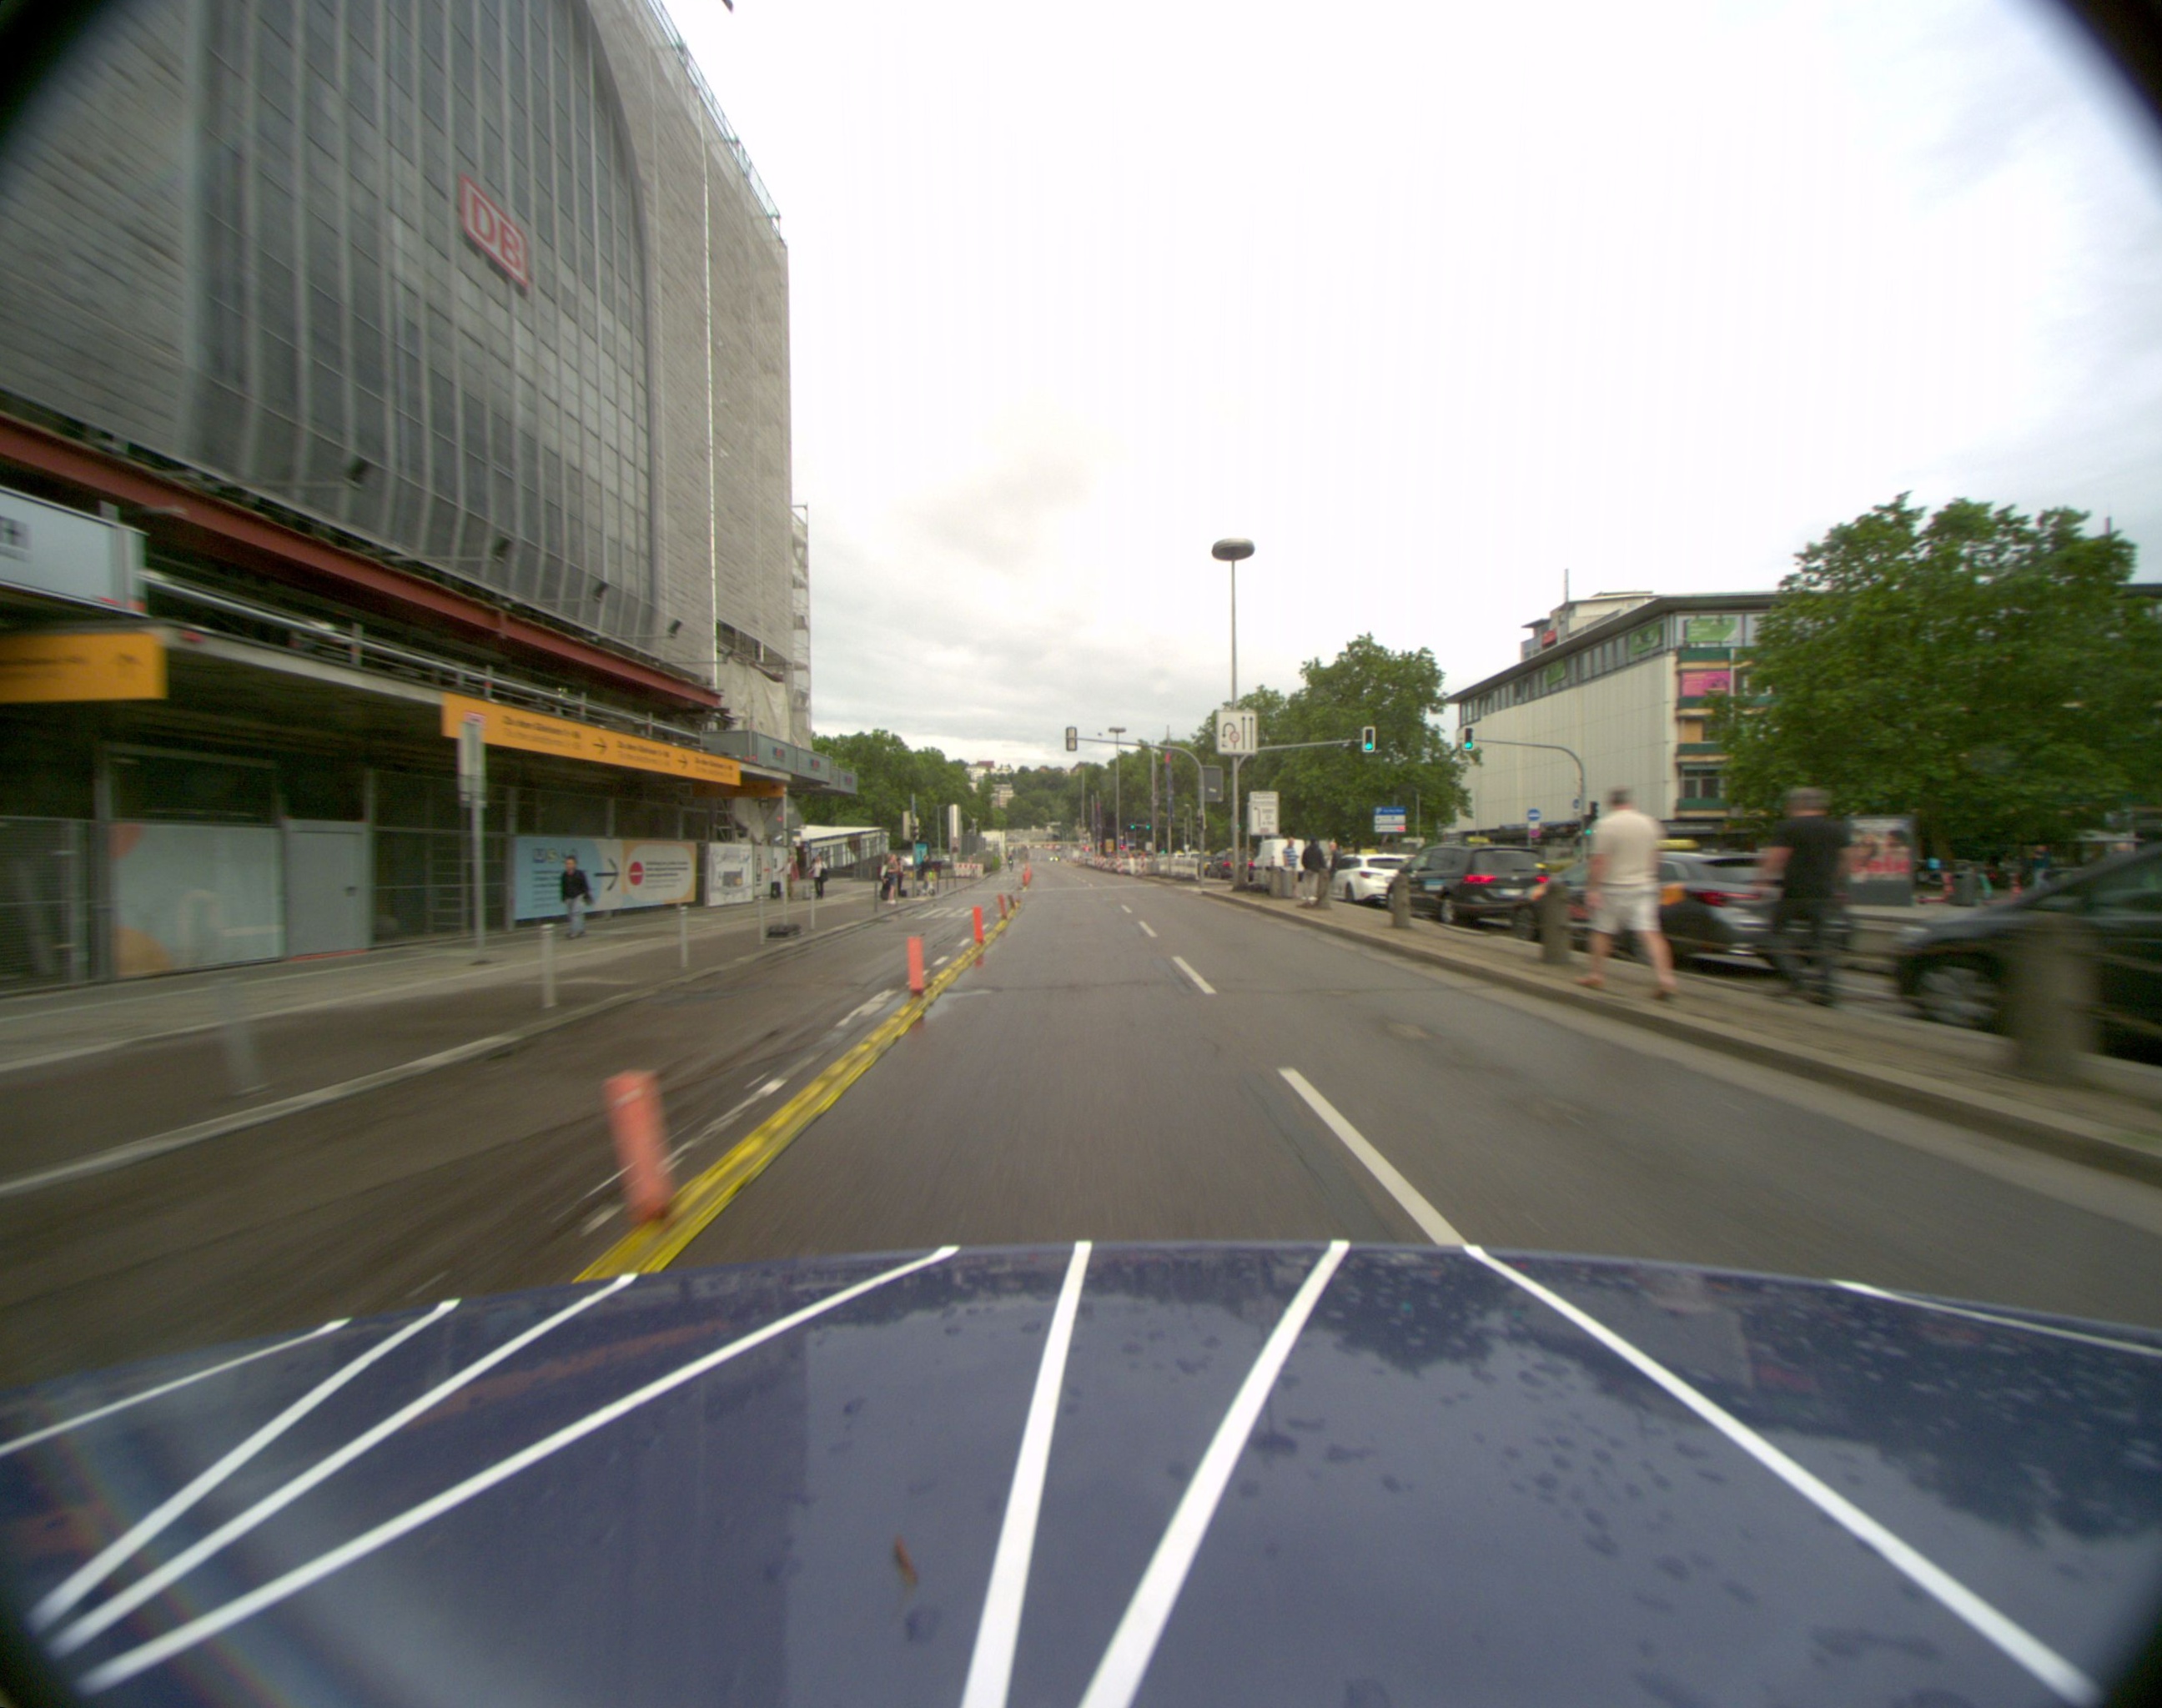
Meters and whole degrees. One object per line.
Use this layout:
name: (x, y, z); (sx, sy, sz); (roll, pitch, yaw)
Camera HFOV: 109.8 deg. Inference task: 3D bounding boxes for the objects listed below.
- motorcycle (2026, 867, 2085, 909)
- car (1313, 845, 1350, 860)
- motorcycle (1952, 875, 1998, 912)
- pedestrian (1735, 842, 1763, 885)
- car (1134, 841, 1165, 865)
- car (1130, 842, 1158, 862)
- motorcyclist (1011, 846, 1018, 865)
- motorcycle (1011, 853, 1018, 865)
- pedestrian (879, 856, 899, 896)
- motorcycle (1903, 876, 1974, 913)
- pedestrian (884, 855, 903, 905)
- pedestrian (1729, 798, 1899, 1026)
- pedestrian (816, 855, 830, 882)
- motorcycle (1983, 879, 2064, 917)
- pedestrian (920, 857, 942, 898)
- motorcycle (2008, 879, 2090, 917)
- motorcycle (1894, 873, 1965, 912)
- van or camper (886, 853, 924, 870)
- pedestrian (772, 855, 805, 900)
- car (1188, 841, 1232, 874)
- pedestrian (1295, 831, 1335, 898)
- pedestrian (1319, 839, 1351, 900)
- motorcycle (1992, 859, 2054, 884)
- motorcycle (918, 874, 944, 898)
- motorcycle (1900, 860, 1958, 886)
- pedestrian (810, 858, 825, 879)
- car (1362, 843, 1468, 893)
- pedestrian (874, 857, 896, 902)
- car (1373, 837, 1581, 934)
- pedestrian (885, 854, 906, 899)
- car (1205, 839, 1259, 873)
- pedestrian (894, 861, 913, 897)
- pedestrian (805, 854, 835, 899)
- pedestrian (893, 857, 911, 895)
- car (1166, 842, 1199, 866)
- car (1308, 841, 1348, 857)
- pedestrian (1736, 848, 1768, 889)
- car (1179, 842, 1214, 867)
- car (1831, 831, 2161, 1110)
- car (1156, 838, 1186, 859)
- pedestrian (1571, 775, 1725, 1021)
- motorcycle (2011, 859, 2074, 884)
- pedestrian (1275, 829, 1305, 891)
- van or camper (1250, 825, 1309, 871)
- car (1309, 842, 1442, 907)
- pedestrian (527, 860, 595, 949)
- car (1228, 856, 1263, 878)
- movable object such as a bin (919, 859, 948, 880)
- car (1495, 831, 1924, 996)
motorcycle: (27.060, 0.925, 21.127); (0.601, 1.051, 1.819); (-2, 0, 39)
car: (36.582, -0.265, 110.969); (4.829, 2.001, 2.037); (-2, 0, 5)
motorcycle: (29.866, 1.309, 25.398); (0.581, 1.127, 1.627); (-2, 0, 35)
pedestrian: (26.177, 0.367, 29.776); (0.530, 1.632, 0.609); (2, 0, -18)
car: (5.377, -0.034, 60.516); (1.999, 1.806, 4.811); (0, -1, -1)
car: (5.490, -0.141, 66.951); (1.999, 1.760, 4.811); (0, -1, -1)
motorcyclist: (-7.160, 0.168, 81.939); (0.726, 2.024, 0.587); (0, -1, -5)
motorcycle: (-7.162, 0.578, 81.955); (0.730, 1.221, 2.160); (0, -1, -5)
pedestrian: (-8.033, 0.905, 31.826); (0.565, 1.641, 0.615); (2, 0, 6)
motorcycle: (26.351, 1.238, 23.382); (0.477, 1.040, 1.625); (-2, 0, 7)
pedestrian: (-6.680, 0.924, 27.070); (0.560, 1.749, 0.751); (2, 0, -12)
pedestrian: (5.944, 0.451, 6.200); (0.700, 1.744, 0.711); (-1, 0, 2)
pedestrian: (-20.086, 1.114, 59.119); (0.806, 2.002, 0.765); (-3, 1, -6)
motorcycle: (28.500, 1.308, 23.018); (0.582, 1.051, 1.625); (-2, 0, 9)
pedestrian: (-6.456, 1.018, 32.699); (0.582, 1.730, 0.819); (-1, 1, -41)
motorcycle: (29.467, 1.320, 23.154); (0.582, 1.051, 1.625); (-2, 0, 9)
motorcycle: (27.105, 1.211, 24.306); (0.582, 1.166, 1.625); (-2, 0, 7)
van or camper: (-25.102, 1.103, 108.137); (6.046, 2.387, 2.392); (-1, -1, 45)
pedestrian: (-11.034, 0.867, 28.660); (0.734, 1.672, 1.110); (0, 0, 4)
car: (8.011, 0.232, 47.523); (1.908, 1.887, 4.523); (-2, 0, -1)
pedestrian: (6.397, 0.286, 20.821); (0.784, 1.765, 0.606); (2, 0, -10)
pedestrian: (7.240, 0.428, 21.693); (0.653, 1.701, 0.593); (-2, 0, 0)
motorcycle: (40.507, 0.741, 32.712); (0.532, 1.040, 1.717); (-1, 0, -1)
motorcycle: (-6.462, 1.373, 32.713); (0.587, 1.015, 1.236); (-1, 0, -41)
motorcycle: (36.089, 0.802, 32.358); (0.532, 1.040, 1.717); (-1, 0, -1)
pedestrian: (-20.049, 1.091, 57.844); (0.857, 1.584, 0.709); (-3, 1, -6)
car: (12.289, 0.453, 28.300); (1.934, 1.681, 4.682); (1, 0, 1)
pedestrian: (-7.345, 0.943, 28.476); (0.559, 1.631, 0.752); (2, 0, 3)
car: (7.953, 0.549, 15.875); (1.934, 1.681, 4.682); (1, 0, 1)
pedestrian: (-7.278, 0.870, 29.779); (0.559, 1.741, 0.711); (2, 0, 3)
car: (8.120, 0.121, 41.195); (1.908, 1.689, 4.500); (-2, 0, -1)
pedestrian: (-7.388, 1.026, 31.608); (0.559, 1.441, 0.711); (2, 0, 3)
pedestrian: (-9.893, 0.836, 28.811); (0.738, 1.668, 0.957); (2, 0, 1)
pedestrian: (-7.831, 0.945, 33.332); (0.559, 1.641, 0.615); (2, 0, 3)
car: (8.200, 0.023, 61.607); (1.919, 1.840, 4.565); (0, 0, -2)
car: (27.274, -0.529, 83.879); (3.735, 1.534, 1.855); (-4, 1, 38)
pedestrian: (26.010, 0.541, 29.470); (0.476, 1.563, 0.751); (2, 0, -17)
car: (8.119, 0.054, 53.700); (1.788, 1.712, 4.483); (0, -1, -1)
car: (7.478, 0.720, 4.262); (1.934, 1.681, 4.682); (1, 0, 1)
car: (7.909, -0.445, 67.078); (1.895, 1.692, 4.421); (-2, 0, -2)
pedestrian: (4.882, 0.362, 6.595); (0.724, 1.996, 0.772); (-2, 0, 2)
motorcycle: (41.450, 0.730, 32.772); (0.532, 1.040, 1.717); (-1, 0, -1)
pedestrian: (6.107, 0.187, 22.174); (0.558, 1.765, 0.754); (2, 0, 36)
van or camper: (11.706, -0.317, 45.161); (1.998, 2.499, 5.370); (2, 0, 0)
car: (8.120, 0.530, 21.504); (2.019, 1.611, 4.843); (0, 0, 2)
pedestrian: (-10.008, 0.947, 14.662); (0.550, 1.623, 0.995); (2, 0, 2)
car: (13.301, 1.026, 61.693); (1.839, 1.636, 3.804); (-2, 0, -2)
movable object such as a bin: (-10.426, 1.100, 53.821); (1.299, 1.483, 1.537); (0, 0, 30)
car: (7.793, 0.604, 10.229); (1.934, 1.681, 4.682); (1, 0, 1)
